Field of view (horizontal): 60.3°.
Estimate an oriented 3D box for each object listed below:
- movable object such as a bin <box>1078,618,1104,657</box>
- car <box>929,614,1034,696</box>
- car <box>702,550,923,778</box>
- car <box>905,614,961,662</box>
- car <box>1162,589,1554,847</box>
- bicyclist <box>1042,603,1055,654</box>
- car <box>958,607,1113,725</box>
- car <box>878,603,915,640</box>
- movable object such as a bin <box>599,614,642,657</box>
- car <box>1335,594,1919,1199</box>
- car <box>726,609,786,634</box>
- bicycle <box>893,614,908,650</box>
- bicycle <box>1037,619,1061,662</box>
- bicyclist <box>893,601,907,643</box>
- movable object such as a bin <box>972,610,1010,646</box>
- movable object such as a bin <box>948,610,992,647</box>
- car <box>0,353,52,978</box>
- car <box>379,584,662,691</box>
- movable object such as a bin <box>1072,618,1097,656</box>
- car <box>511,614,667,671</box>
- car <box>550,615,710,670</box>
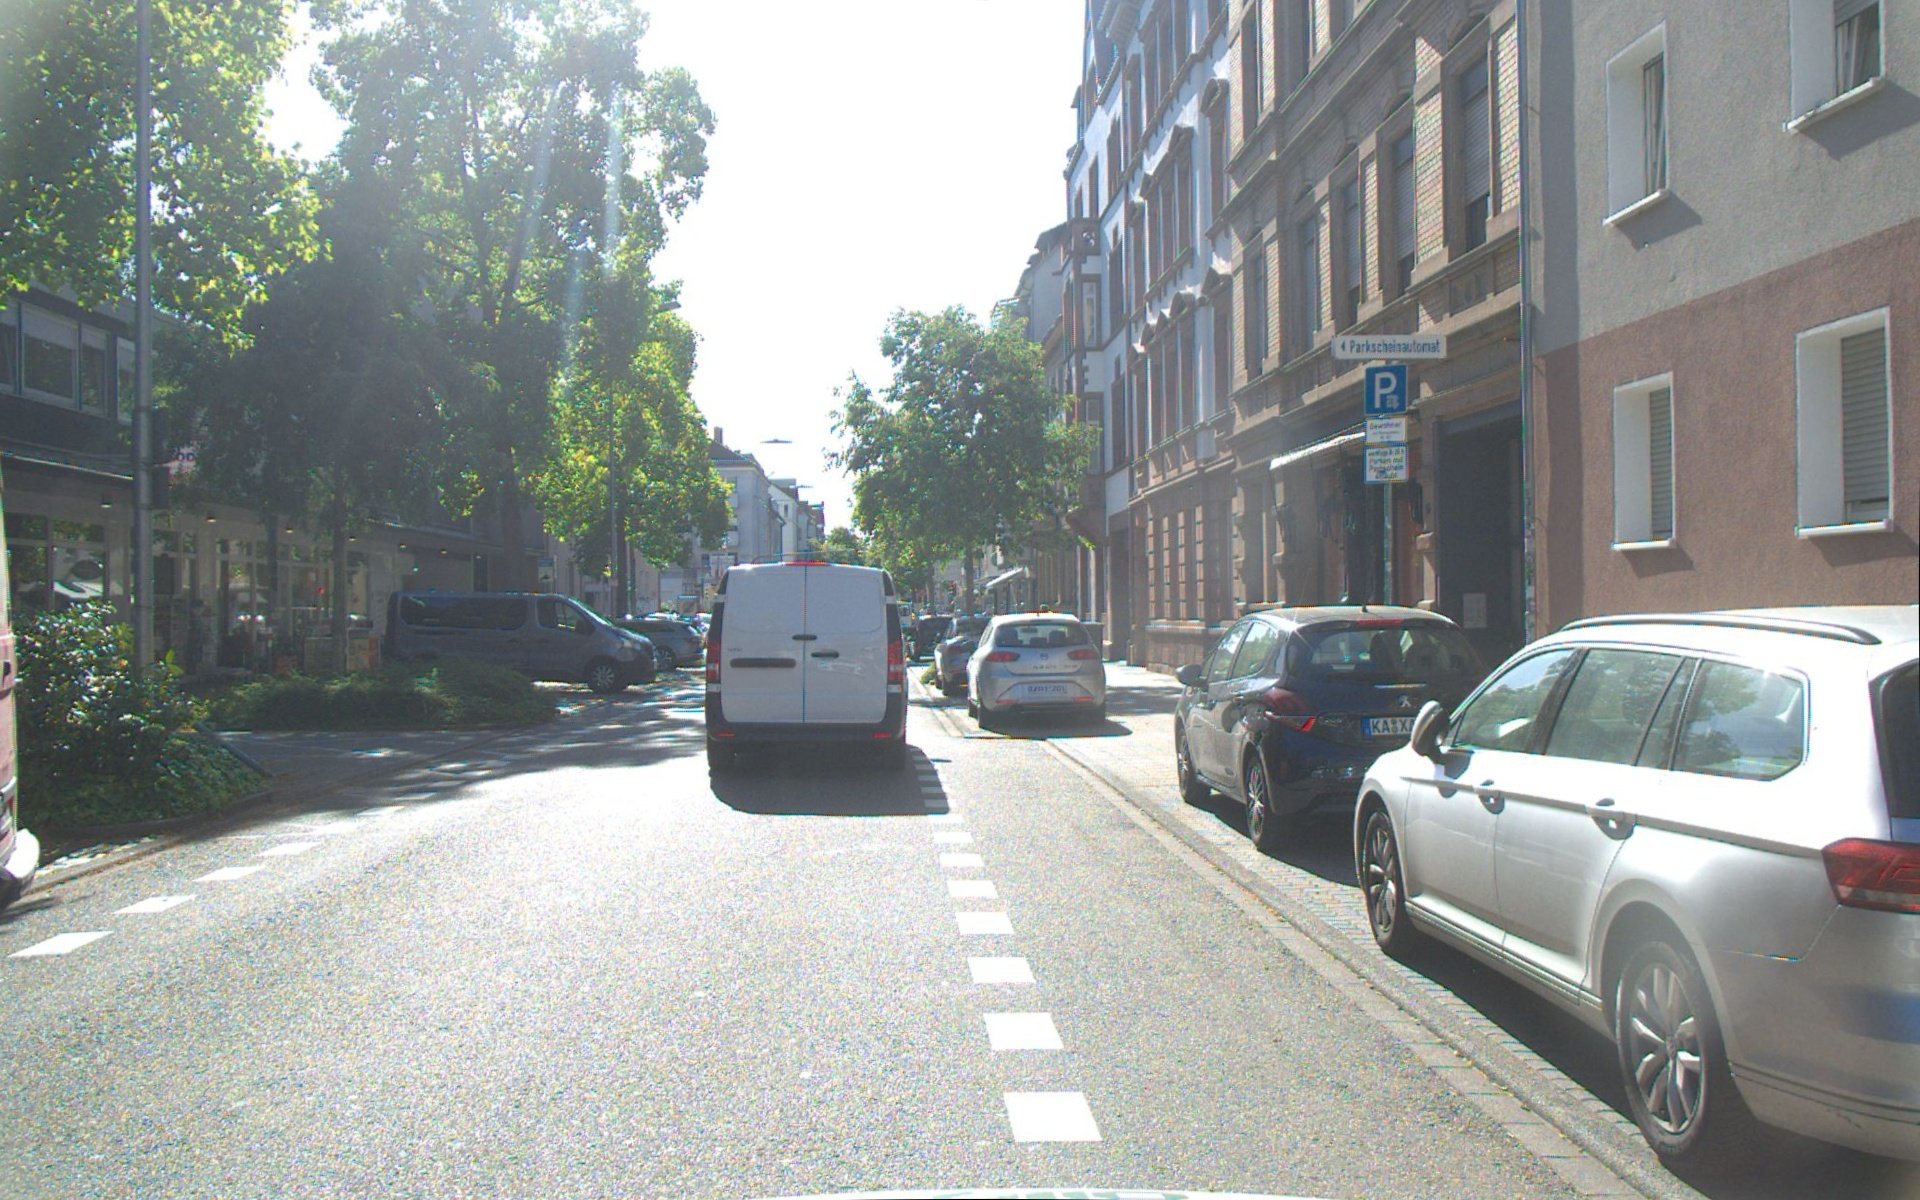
[{"bbox_3d":[3.657,1.043,46.233,0.625,1.087,0.639,0,-1,-4],"label":"movable object such as a bin"},{"bbox_3d":[0.358,1.014,32.286,1.704,1.477,4.304,0,0,-4],"label":"car"},{"bbox_3d":[-1.624,0.567,16.747,1.885,1.947,4.878,1,0,-8],"label":"car"},{"bbox_3d":[-0.922,1.247,55.242,1.604,1.501,3.576,-1,-1,-5],"label":"car"},{"bbox_3d":[2.585,0.710,11.629,1.675,1.506,3.708,0,-1,-3],"label":"car"},{"bbox_3d":[2.595,0.830,48.452,0.353,1.503,0.531,0,-1,1],"label":"bicyclist"},{"bbox_3d":[0.966,0.855,23.108,1.704,1.477,3.997,0,0,-4],"label":"car"},{"bbox_3d":[-3.449,1.132,88.976,1.780,1.955,4.639,0,0,-5],"label":"car"},{"bbox_3d":[-11.965,1.236,58.282,1.204,1.475,1.077,-1,0,7],"label":"movable object such as a bin"},{"bbox_3d":[2.721,0.740,5.636,1.749,1.485,4.515,-2,0,-1],"label":"car"},{"bbox_3d":[-13.617,1.410,110.611,3.911,1.669,1.997,0,-1,-7],"label":"car"},{"bbox_3d":[-2.194,1.166,60.951,0.465,1.296,1.217,-1,0,-4],"label":"bicycle"},{"bbox_3d":[2.584,1.177,48.334,0.525,1.168,2.124,-5,-1,1],"label":"bicycle"},{"bbox_3d":[-2.212,0.820,60.964,0.431,1.535,0.496,-2,0,-4],"label":"bicyclist"},{"bbox_3d":[1.213,1.081,64.392,1.020,1.371,1.105,-1,-1,35],"label":"movable object such as a bin"},{"bbox_3d":[0.382,1.091,63.209,1.090,1.371,1.263,-1,-1,44],"label":"movable object such as a bin"},{"bbox_3d":[-6.996,0.283,5.957,6.514,2.517,1.980,0,0,-31],"label":"car"},{"bbox_3d":[-8.778,0.741,33.431,5.187,2.009,2.014,1,-1,-4],"label":"car"},{"bbox_3d":[3.570,1.055,47.385,0.625,1.087,0.631,0,-1,-4],"label":"movable object such as a bin"},{"bbox_3d":[-9.993,1.134,44.772,3.910,1.489,1.810,1,-1,-7],"label":"car"},{"bbox_3d":[-9.425,1.208,47.504,4.218,1.486,1.762,1,-1,-1],"label":"car"}]
